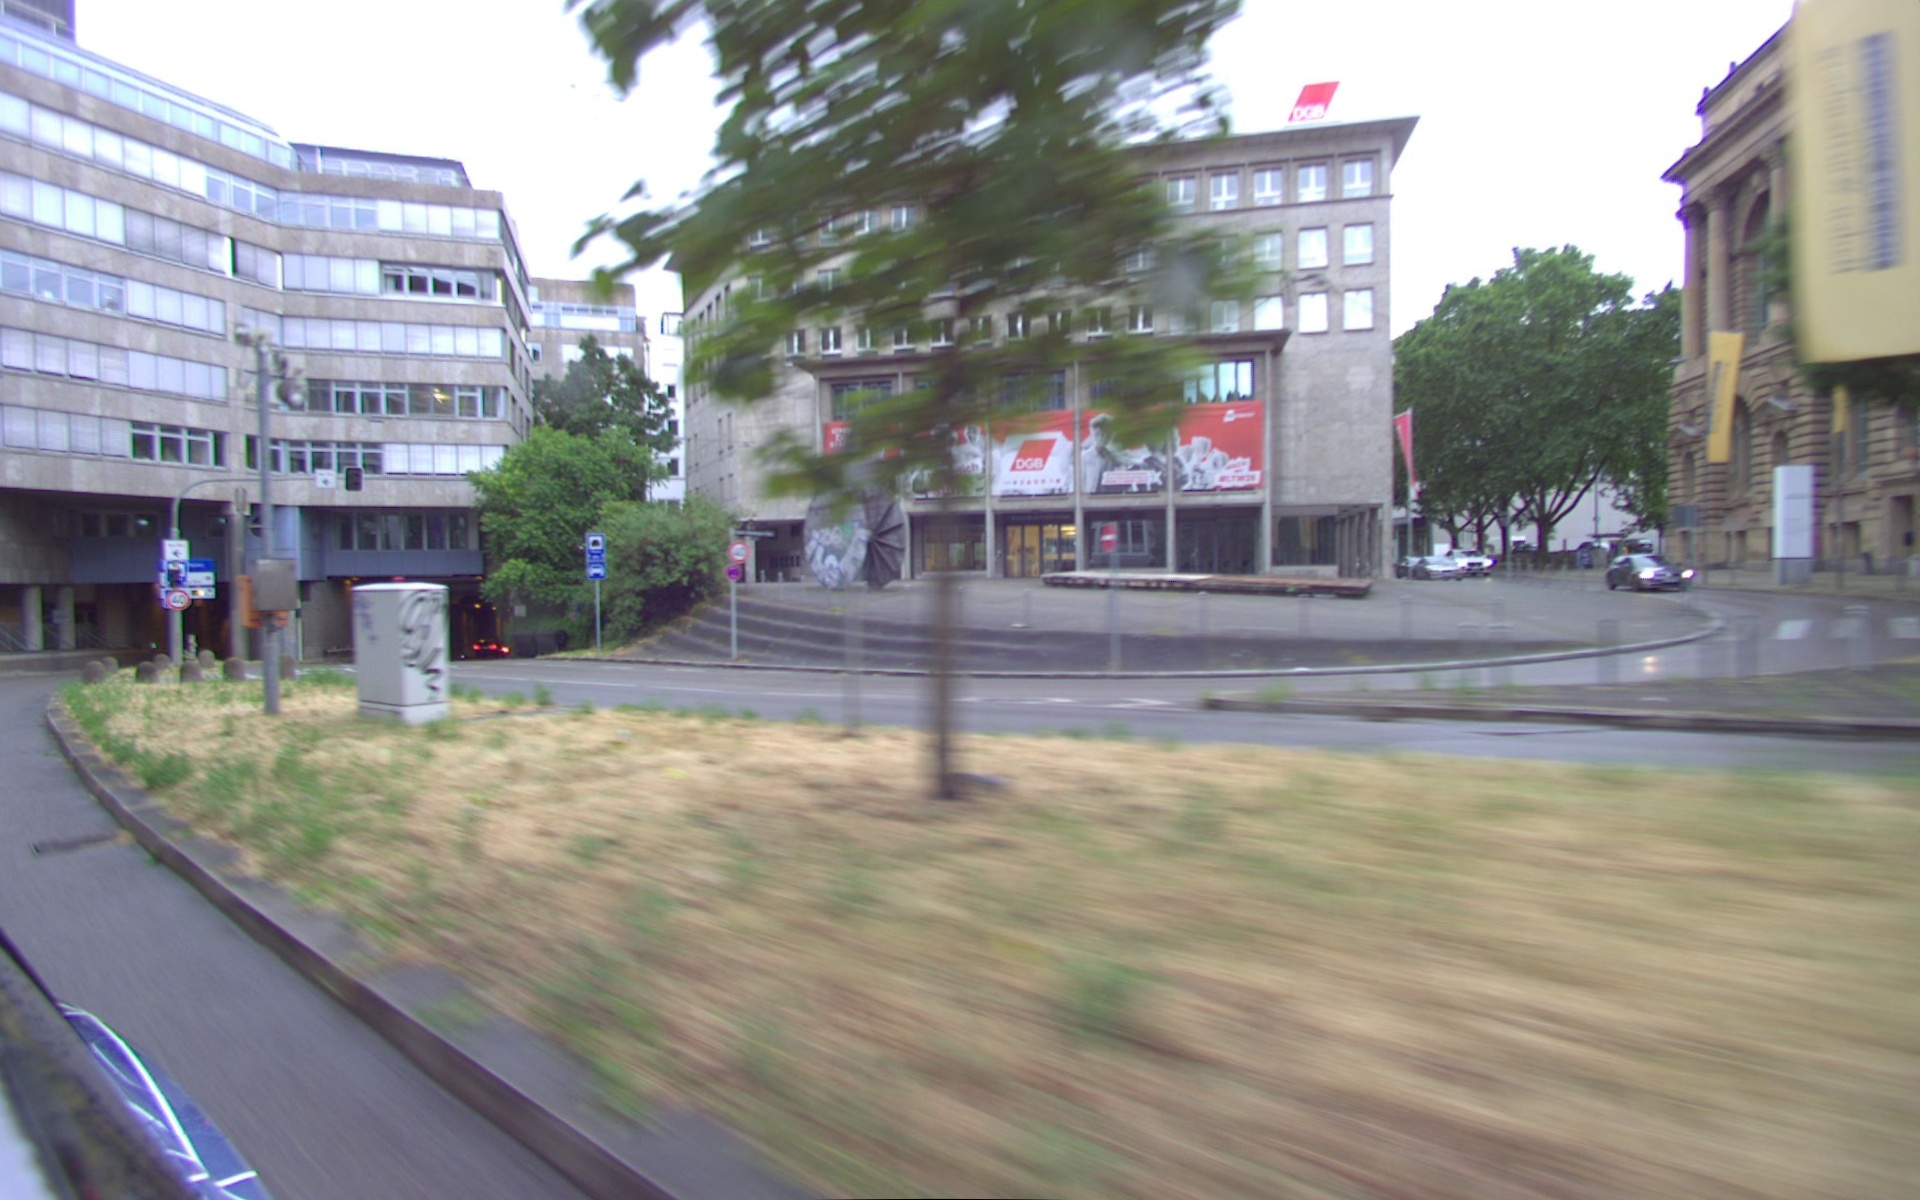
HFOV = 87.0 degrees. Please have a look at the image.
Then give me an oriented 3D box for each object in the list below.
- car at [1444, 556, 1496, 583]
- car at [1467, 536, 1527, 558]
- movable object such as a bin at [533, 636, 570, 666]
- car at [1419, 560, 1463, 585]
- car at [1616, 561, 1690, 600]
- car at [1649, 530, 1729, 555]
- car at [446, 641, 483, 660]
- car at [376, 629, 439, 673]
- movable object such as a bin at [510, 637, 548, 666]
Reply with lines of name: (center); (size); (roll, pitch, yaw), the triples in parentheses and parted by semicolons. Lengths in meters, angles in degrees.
car: (32.454, -1.904, 64.461); (1.980, 1.568, 4.195); (-2, 1, 13)
car: (58.163, -5.713, 109.738); (2.277, 1.971, 6.307); (-2, 0, -11)
movable object such as a bin: (-20.743, 2.580, 51.397); (1.198, 1.461, 1.288); (-1, -1, 20)
car: (26.121, -1.453, 55.070); (1.605, 1.257, 3.603); (-2, 0, 17)
car: (26.800, -0.747, 39.226); (1.609, 1.414, 3.595); (-2, 0, 23)
car: (69.301, -5.474, 96.327); (2.277, 1.971, 6.307); (-2, 0, -11)
car: (-42.594, 4.352, 87.015); (1.820, 1.600, 4.399); (-1, -3, -12)
car: (-21.392, 1.912, 39.078); (1.966, 1.504, 4.856); (0, -1, -31)
movable object such as a bin: (-22.061, 2.629, 51.811); (1.326, 1.461, 1.163); (-1, -1, 12)
